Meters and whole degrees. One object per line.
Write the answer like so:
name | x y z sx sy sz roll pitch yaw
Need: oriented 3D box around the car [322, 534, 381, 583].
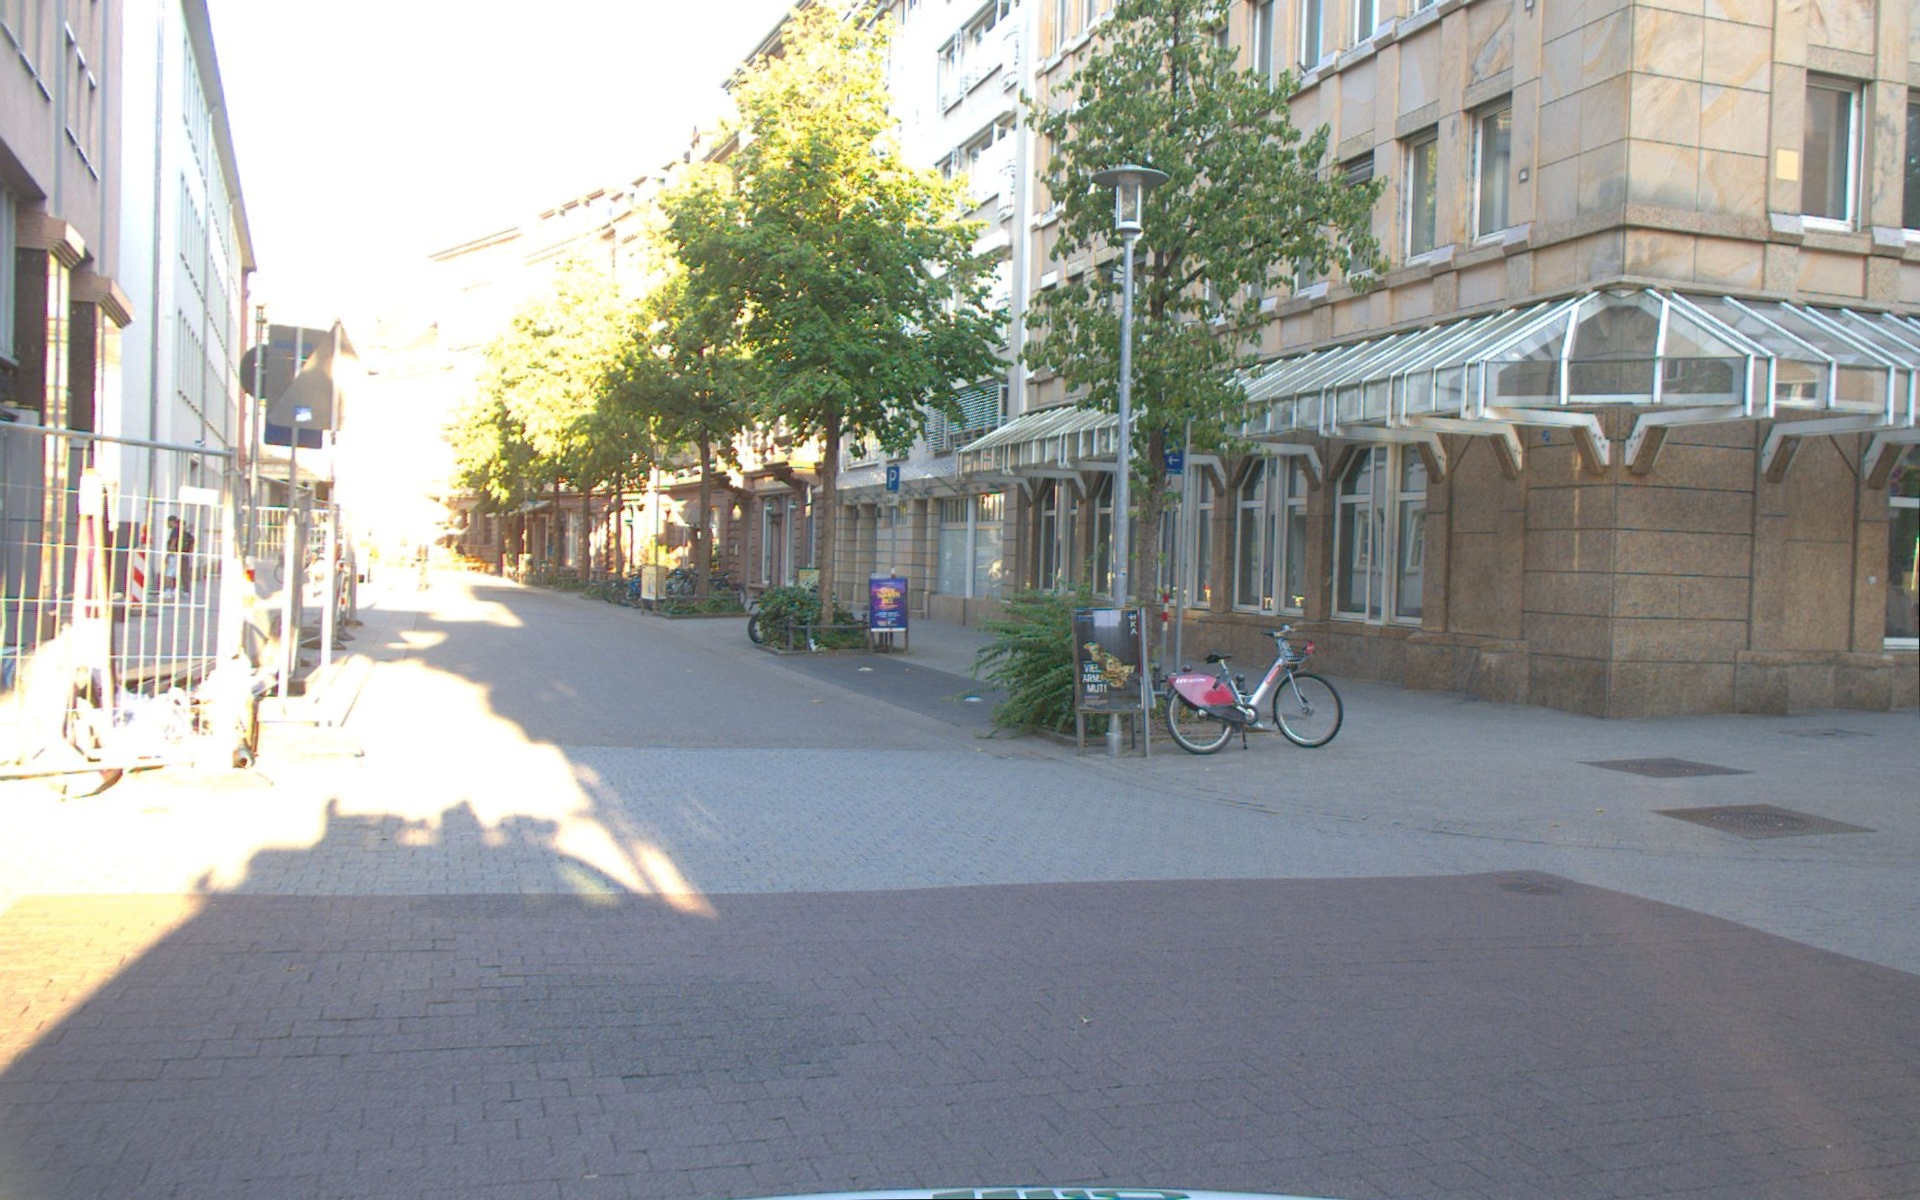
car | -22.467 -1.532 60.990 1.817 1.713 3.618 1 1 -24

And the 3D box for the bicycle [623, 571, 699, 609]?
bicycle | -8.704 -0.299 48.180 2.111 1.079 0.590 1 0 -5

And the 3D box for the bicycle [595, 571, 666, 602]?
bicycle | -10.382 -0.419 52.185 2.127 0.942 0.586 1 1 -27

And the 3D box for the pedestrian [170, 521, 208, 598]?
pedestrian | -17.029 -0.889 36.533 0.643 1.680 0.632 1 1 -14

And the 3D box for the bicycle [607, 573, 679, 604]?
bicycle | -9.833 -0.349 51.324 2.127 0.942 0.586 1 1 -27

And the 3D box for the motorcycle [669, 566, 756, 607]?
motorcycle | -6.822 -0.371 45.696 2.457 1.114 0.582 0 1 -42

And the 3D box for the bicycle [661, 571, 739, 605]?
bicycle | -7.332 -0.332 46.727 2.134 0.942 0.583 0 1 -35

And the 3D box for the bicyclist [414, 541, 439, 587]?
bicyclist | -17.495 -1.173 54.222 0.711 1.494 0.713 1 1 -21

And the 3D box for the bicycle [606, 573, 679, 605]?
bicycle | -9.670 -0.331 50.422 2.127 0.942 0.586 1 1 -27

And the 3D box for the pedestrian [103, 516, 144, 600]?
pedestrian | -17.968 -0.902 35.524 0.643 1.755 0.632 1 1 -14

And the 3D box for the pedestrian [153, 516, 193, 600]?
pedestrian | -17.091 -0.905 35.925 0.643 1.794 0.632 1 1 -14

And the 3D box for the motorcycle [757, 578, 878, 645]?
motorcycle | -2.578 0.212 29.910 2.123 1.171 0.491 1 0 -22

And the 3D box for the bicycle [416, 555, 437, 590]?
bicycle | -17.536 -0.908 54.323 0.580 1.114 2.148 1 1 -20

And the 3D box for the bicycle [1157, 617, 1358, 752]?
bicycle | 2.586 0.726 14.471 1.622 1.069 0.663 -1 3 -1
